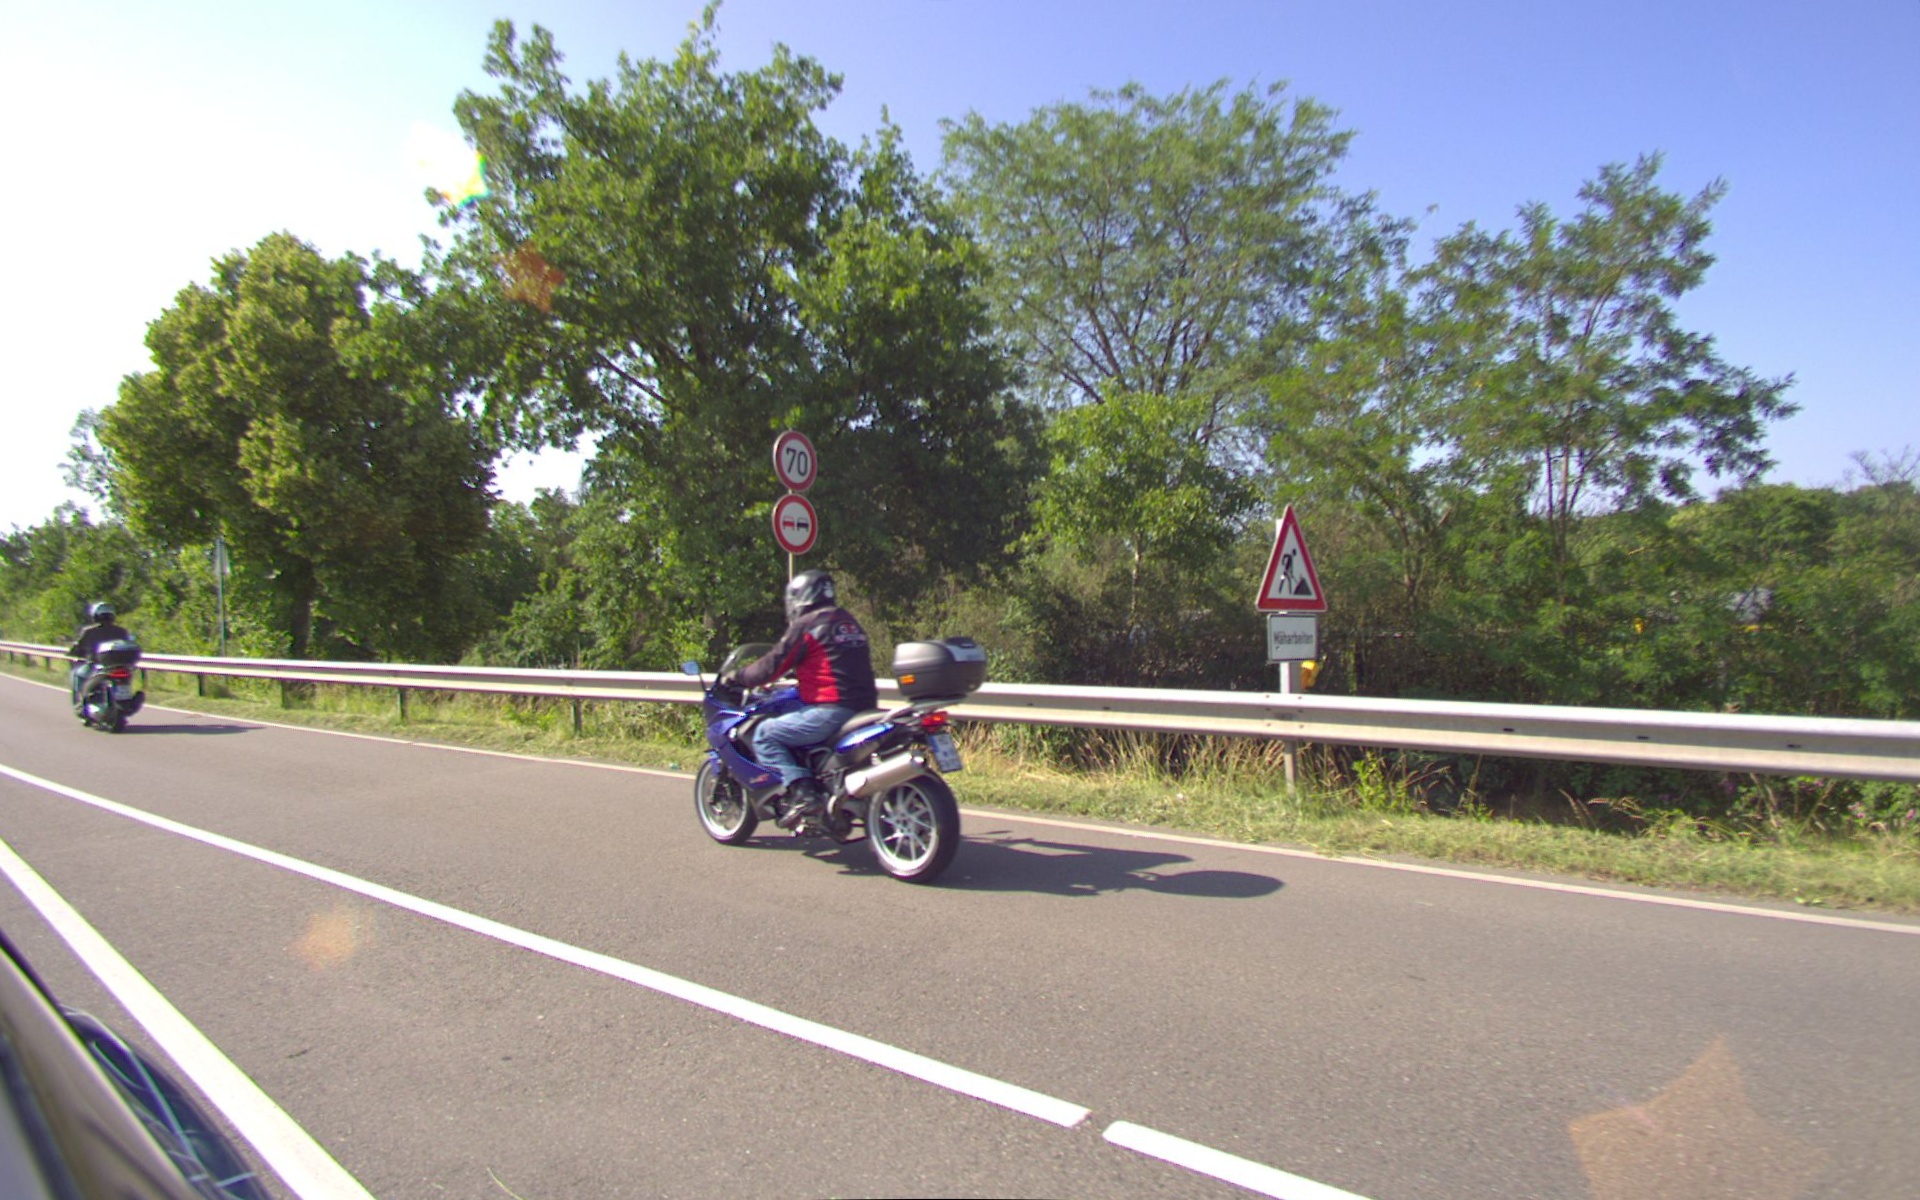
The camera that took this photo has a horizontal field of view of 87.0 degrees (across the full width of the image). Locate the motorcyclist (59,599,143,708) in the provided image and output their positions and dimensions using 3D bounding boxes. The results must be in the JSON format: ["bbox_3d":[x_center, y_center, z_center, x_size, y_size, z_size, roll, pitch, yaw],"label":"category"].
[{"bbox_3d":[-11.592,0.709,13.657,0.783,1.418,0.692,-2,-2,36],"label":"motorcyclist"}]

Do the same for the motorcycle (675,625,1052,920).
[{"bbox_3d":[-0.607,0.805,5.522,2.179,1.318,0.710,-2,-2,39],"label":"motorcycle"}]

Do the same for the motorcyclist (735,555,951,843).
[{"bbox_3d":[-0.649,0.498,5.571,0.978,1.418,0.692,-2,-2,39],"label":"motorcyclist"}]

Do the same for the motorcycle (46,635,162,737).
[{"bbox_3d":[-11.531,1.111,13.610,2.074,1.259,0.711,-1,-2,36],"label":"motorcycle"}]
